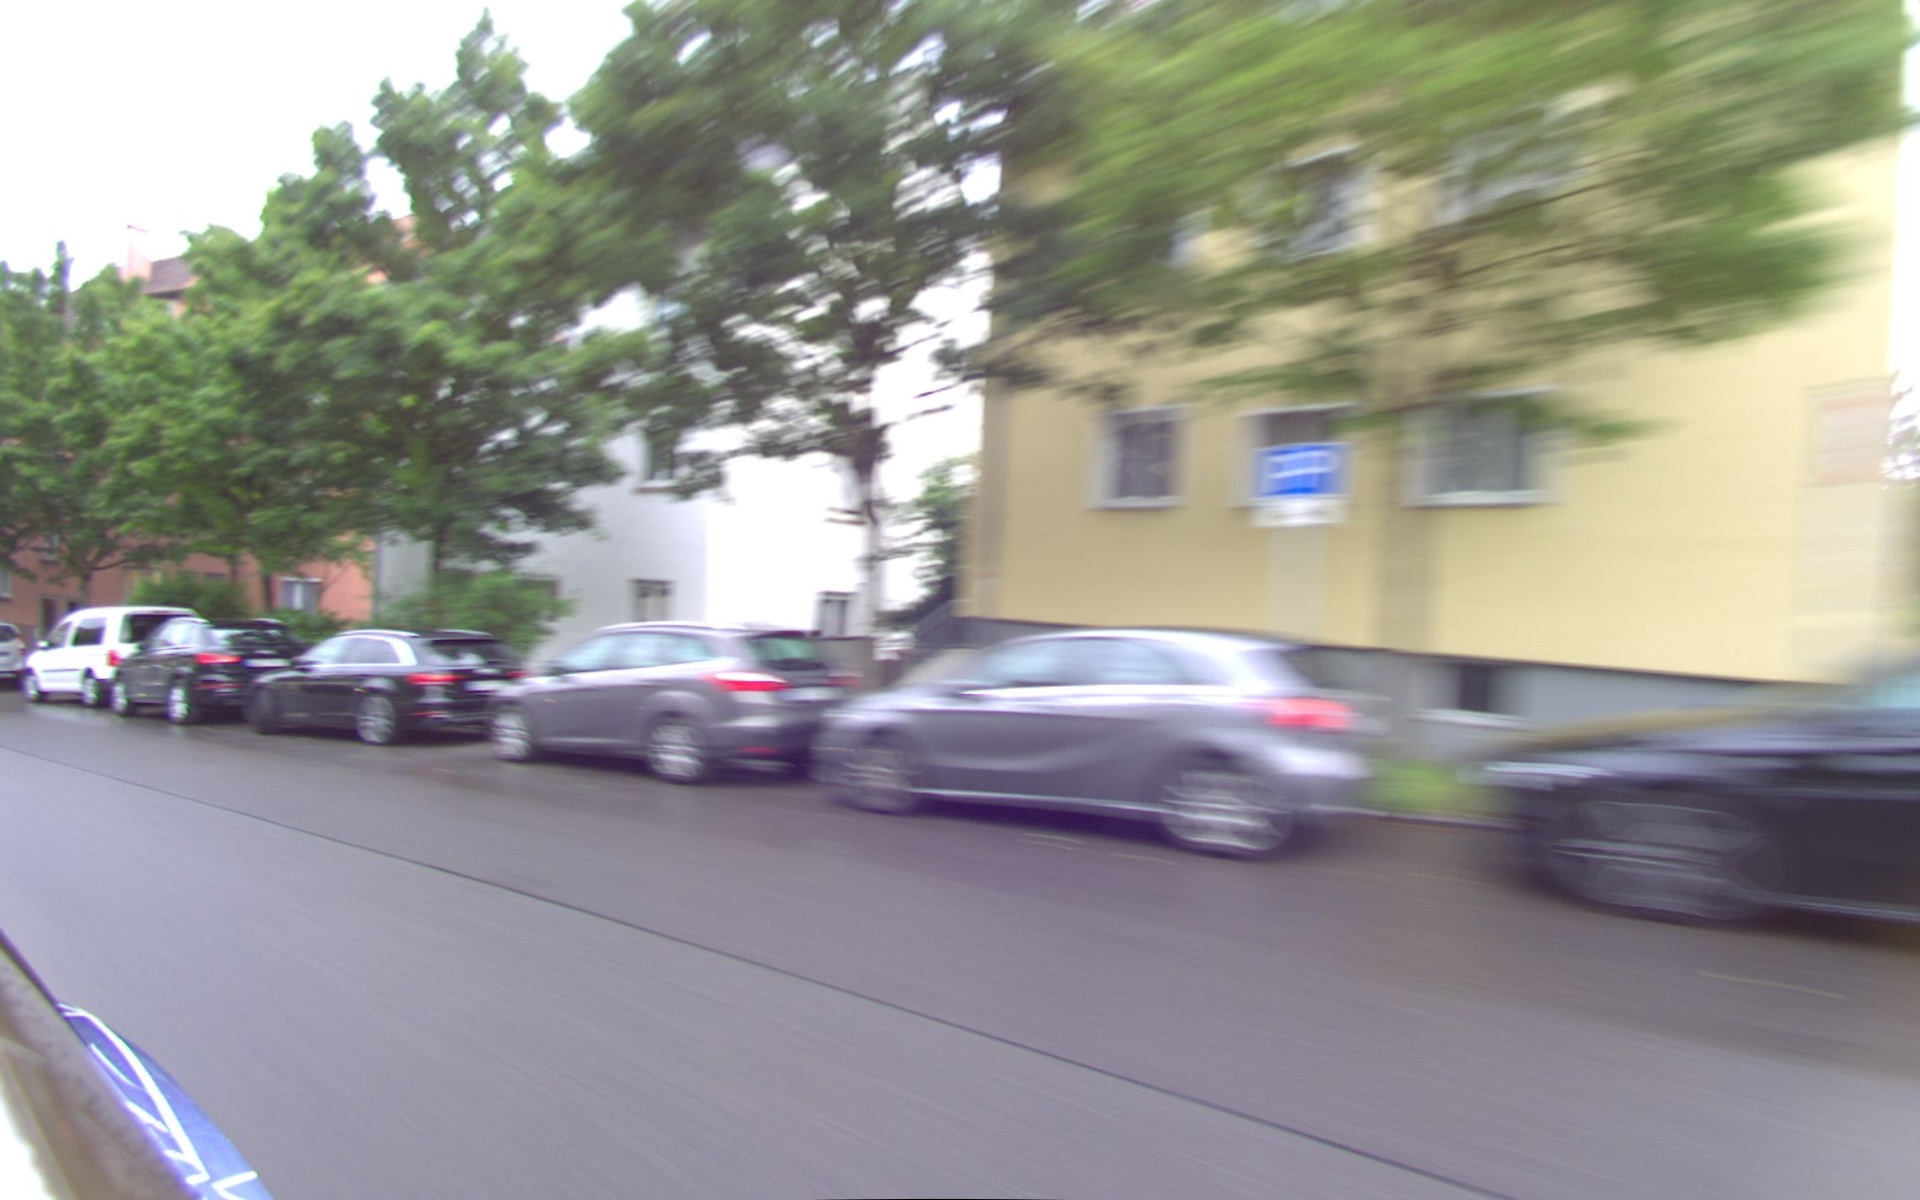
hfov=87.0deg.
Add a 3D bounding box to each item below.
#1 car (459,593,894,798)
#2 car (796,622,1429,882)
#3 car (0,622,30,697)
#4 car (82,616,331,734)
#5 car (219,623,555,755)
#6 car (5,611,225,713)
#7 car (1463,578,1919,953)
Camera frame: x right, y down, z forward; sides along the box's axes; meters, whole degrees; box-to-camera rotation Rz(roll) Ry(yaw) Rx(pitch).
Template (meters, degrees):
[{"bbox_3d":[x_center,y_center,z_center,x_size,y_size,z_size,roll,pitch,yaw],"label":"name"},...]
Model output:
[{"bbox_3d":[-3.036,0.871,10.471,4.543,1.703,1.838,-1,-3,34],"label":"car"},{"bbox_3d":[0.941,0.885,7.382,4.311,1.407,1.600,-1,-2,34],"label":"car"},{"bbox_3d":[-24.139,1.403,24.123,4.584,1.703,1.734,-1,-1,32],"label":"car"},{"bbox_3d":[-12.267,1.113,16.395,4.575,1.680,1.838,-1,-2,34],"label":"car"},{"bbox_3d":[-7.769,1.091,13.608,4.723,1.510,1.840,-1,-2,31],"label":"car"},{"bbox_3d":[-16.446,1.158,19.653,4.465,1.790,1.841,-1,-3,30],"label":"car"},{"bbox_3d":[4.930,0.683,4.538,4.512,1.552,1.757,-1,-1,40],"label":"car"}]
